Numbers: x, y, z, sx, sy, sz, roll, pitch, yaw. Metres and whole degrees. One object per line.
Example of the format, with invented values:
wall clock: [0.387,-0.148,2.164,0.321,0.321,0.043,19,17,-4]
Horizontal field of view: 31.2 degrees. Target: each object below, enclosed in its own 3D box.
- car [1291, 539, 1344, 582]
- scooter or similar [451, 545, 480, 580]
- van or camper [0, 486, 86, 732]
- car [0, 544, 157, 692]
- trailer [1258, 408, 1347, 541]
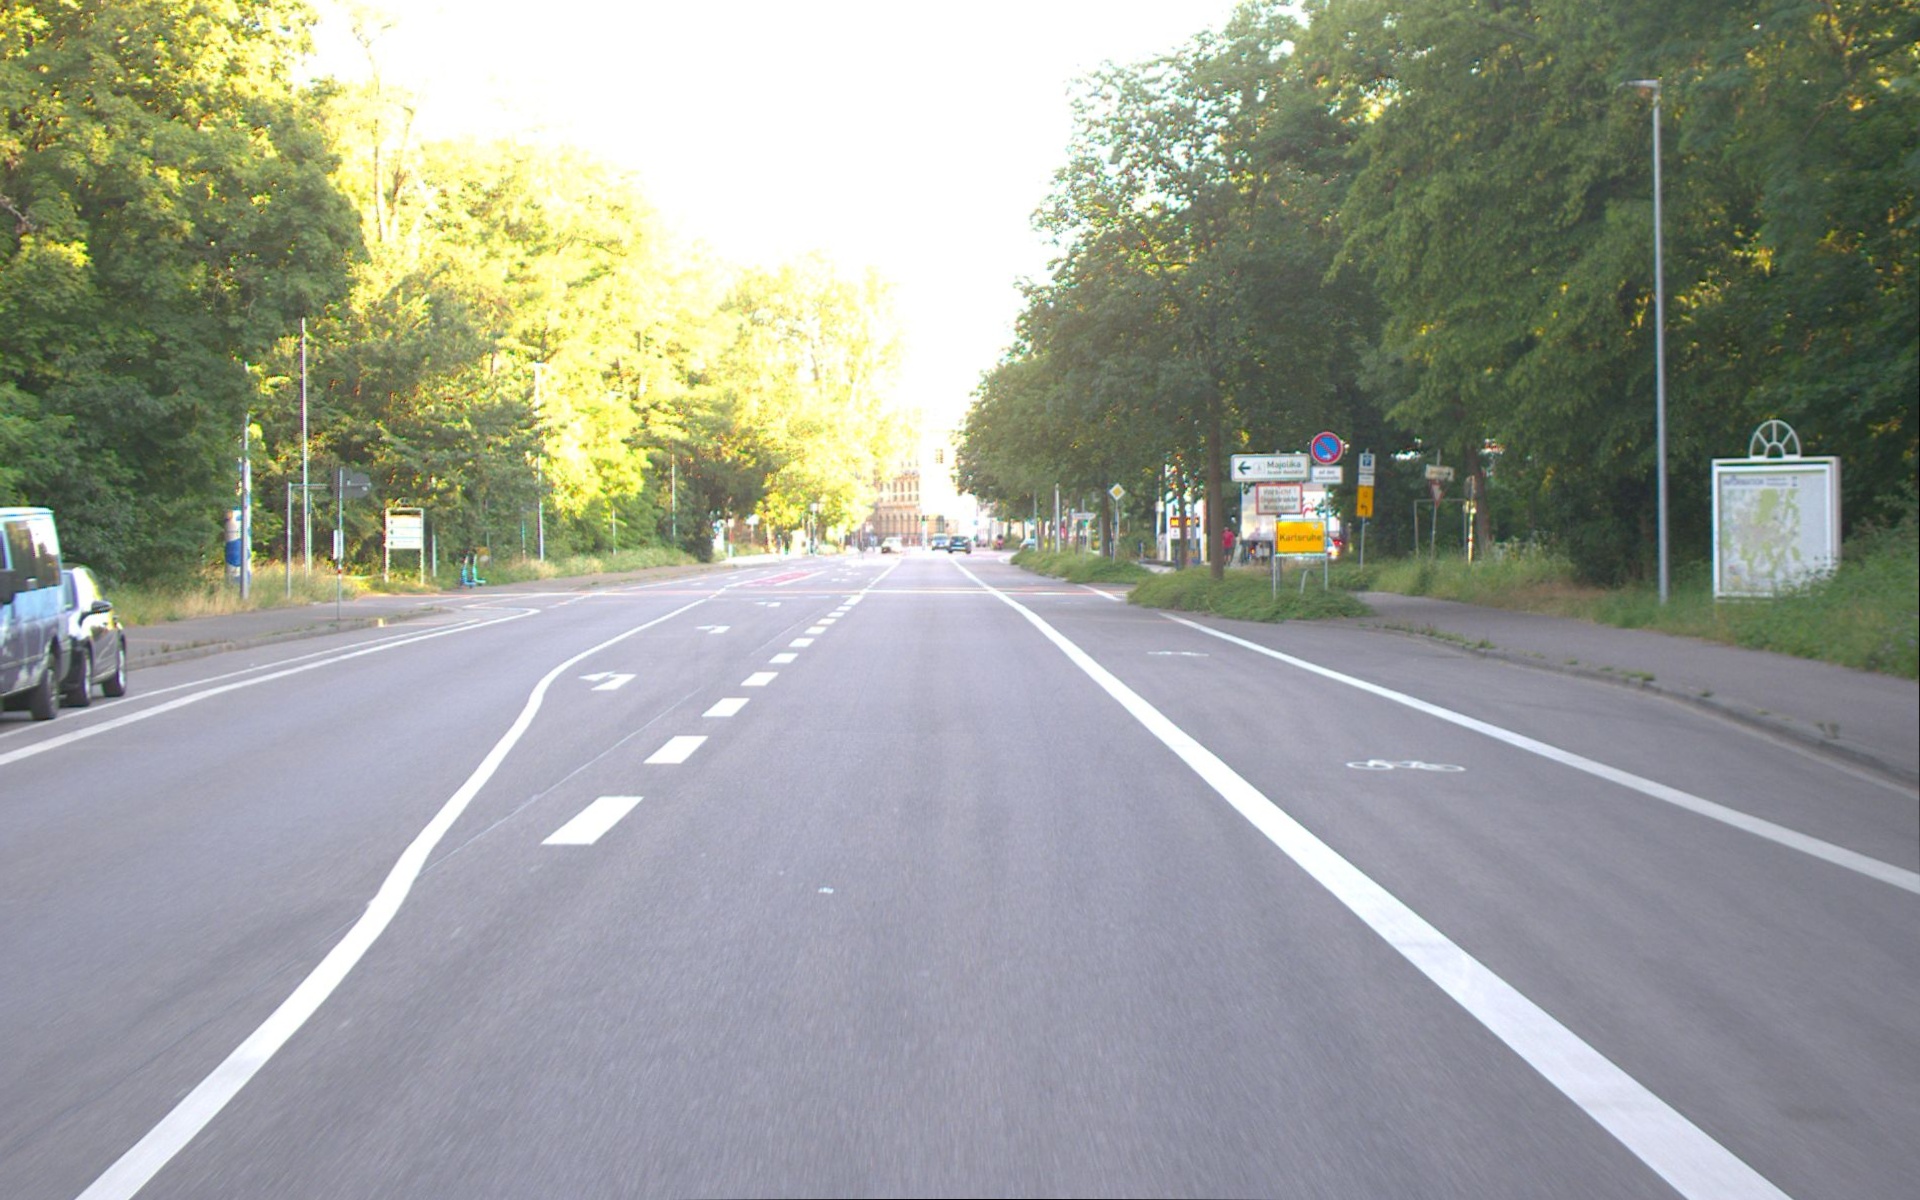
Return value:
car: [13.684,-1.526,131.748,1.770,1.578,4.819,1,1,3]
scooter or similar: [-15.804,-1.208,109.802,0.361,1.106,0.877,0,1,42]
van or camper: [-9.300,0.080,30.595,2.031,2.087,5.015,-2,1,-4]
car: [-9.808,0.161,37.006,1.686,1.457,4.244,-2,1,-6]
trailer: [14.319,-5.201,144.335,3.020,5.443,7.935,0,1,0]
